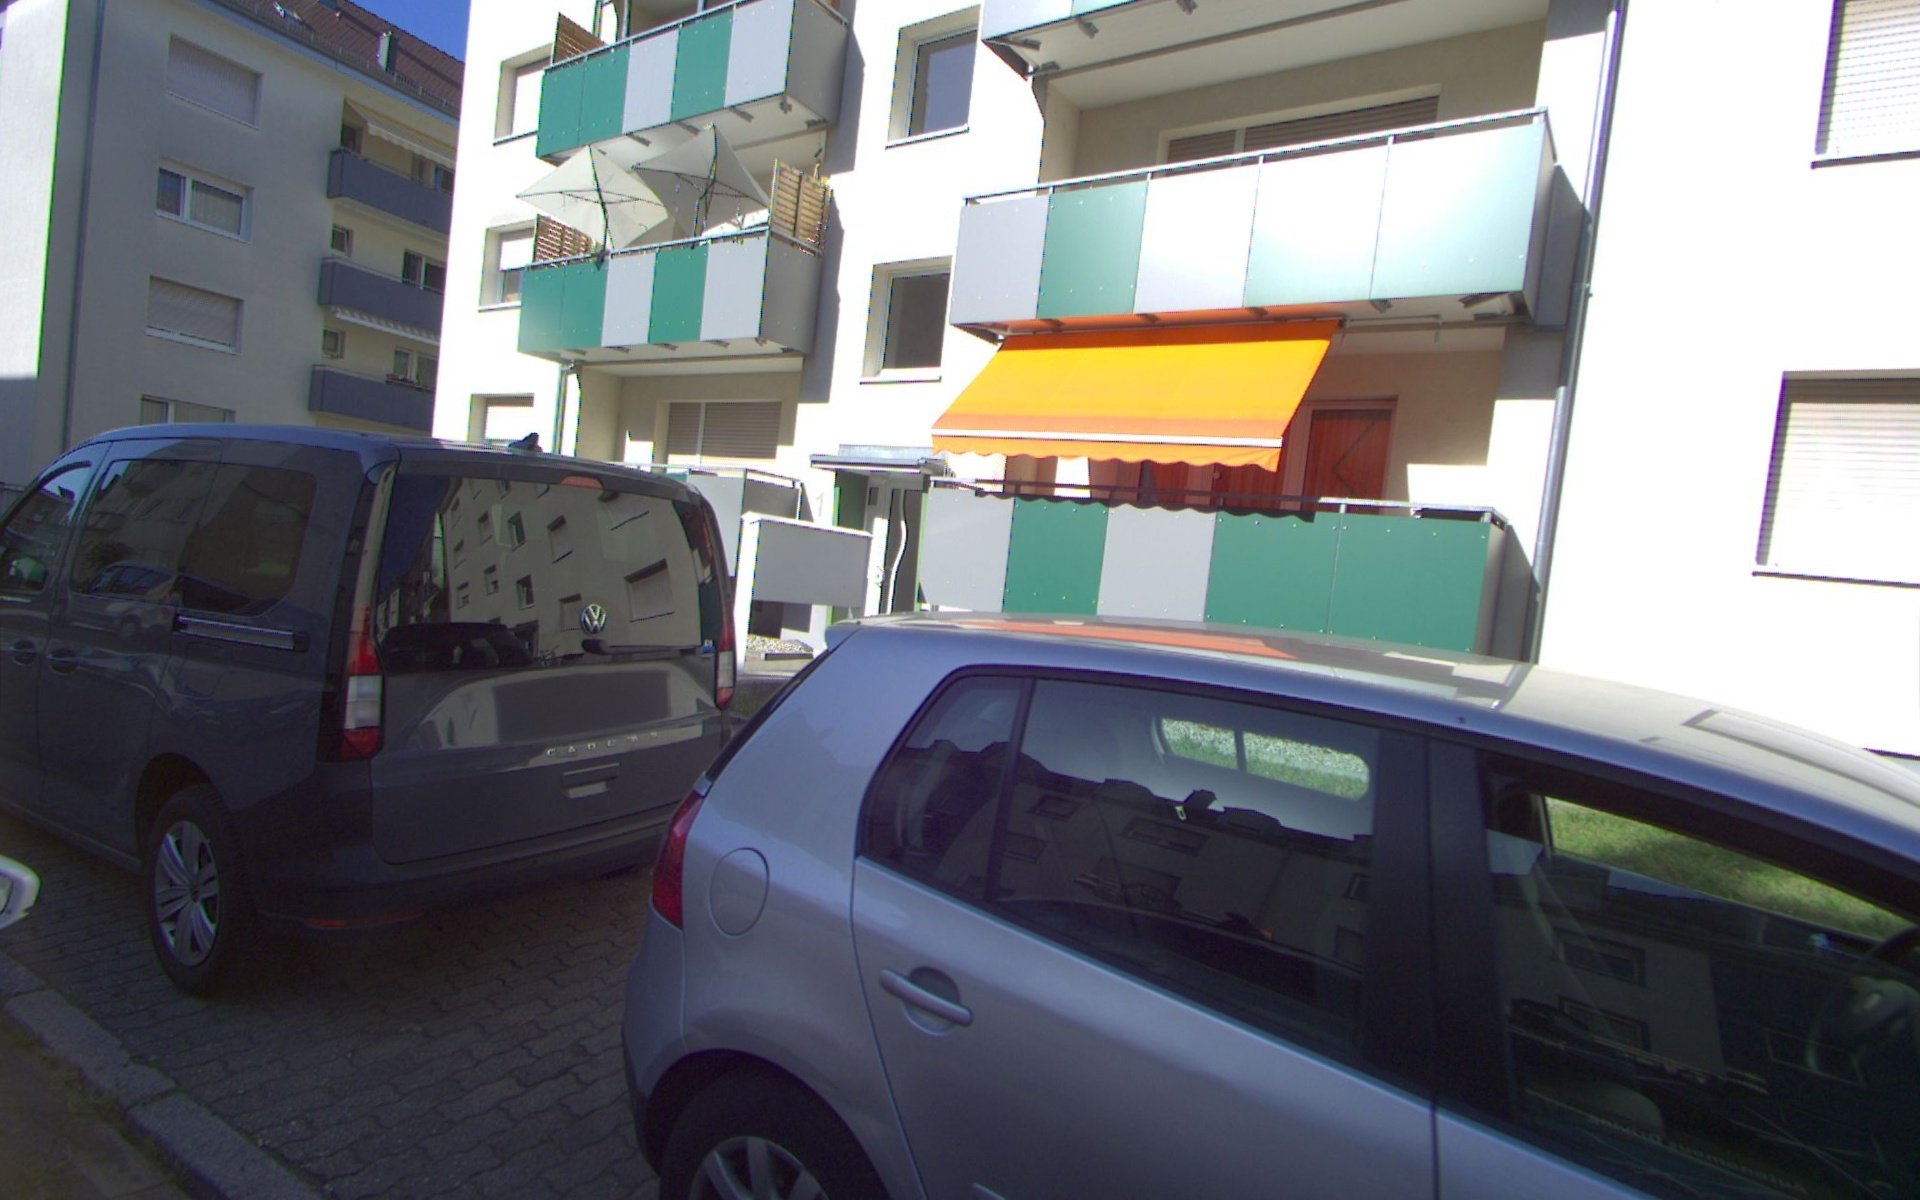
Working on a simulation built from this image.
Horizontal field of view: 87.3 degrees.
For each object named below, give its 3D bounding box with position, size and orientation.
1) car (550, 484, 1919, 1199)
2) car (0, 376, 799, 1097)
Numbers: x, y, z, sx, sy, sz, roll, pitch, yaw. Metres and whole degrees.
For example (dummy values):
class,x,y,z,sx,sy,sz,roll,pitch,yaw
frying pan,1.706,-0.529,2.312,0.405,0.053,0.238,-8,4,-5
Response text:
class,x,y,z,sx,sy,sz,roll,pitch,yaw
car,1.309,0.793,1.710,3.946,1.610,1.681,7,4,32
car,-3.052,0.193,4.497,4.270,1.880,1.897,6,2,30
